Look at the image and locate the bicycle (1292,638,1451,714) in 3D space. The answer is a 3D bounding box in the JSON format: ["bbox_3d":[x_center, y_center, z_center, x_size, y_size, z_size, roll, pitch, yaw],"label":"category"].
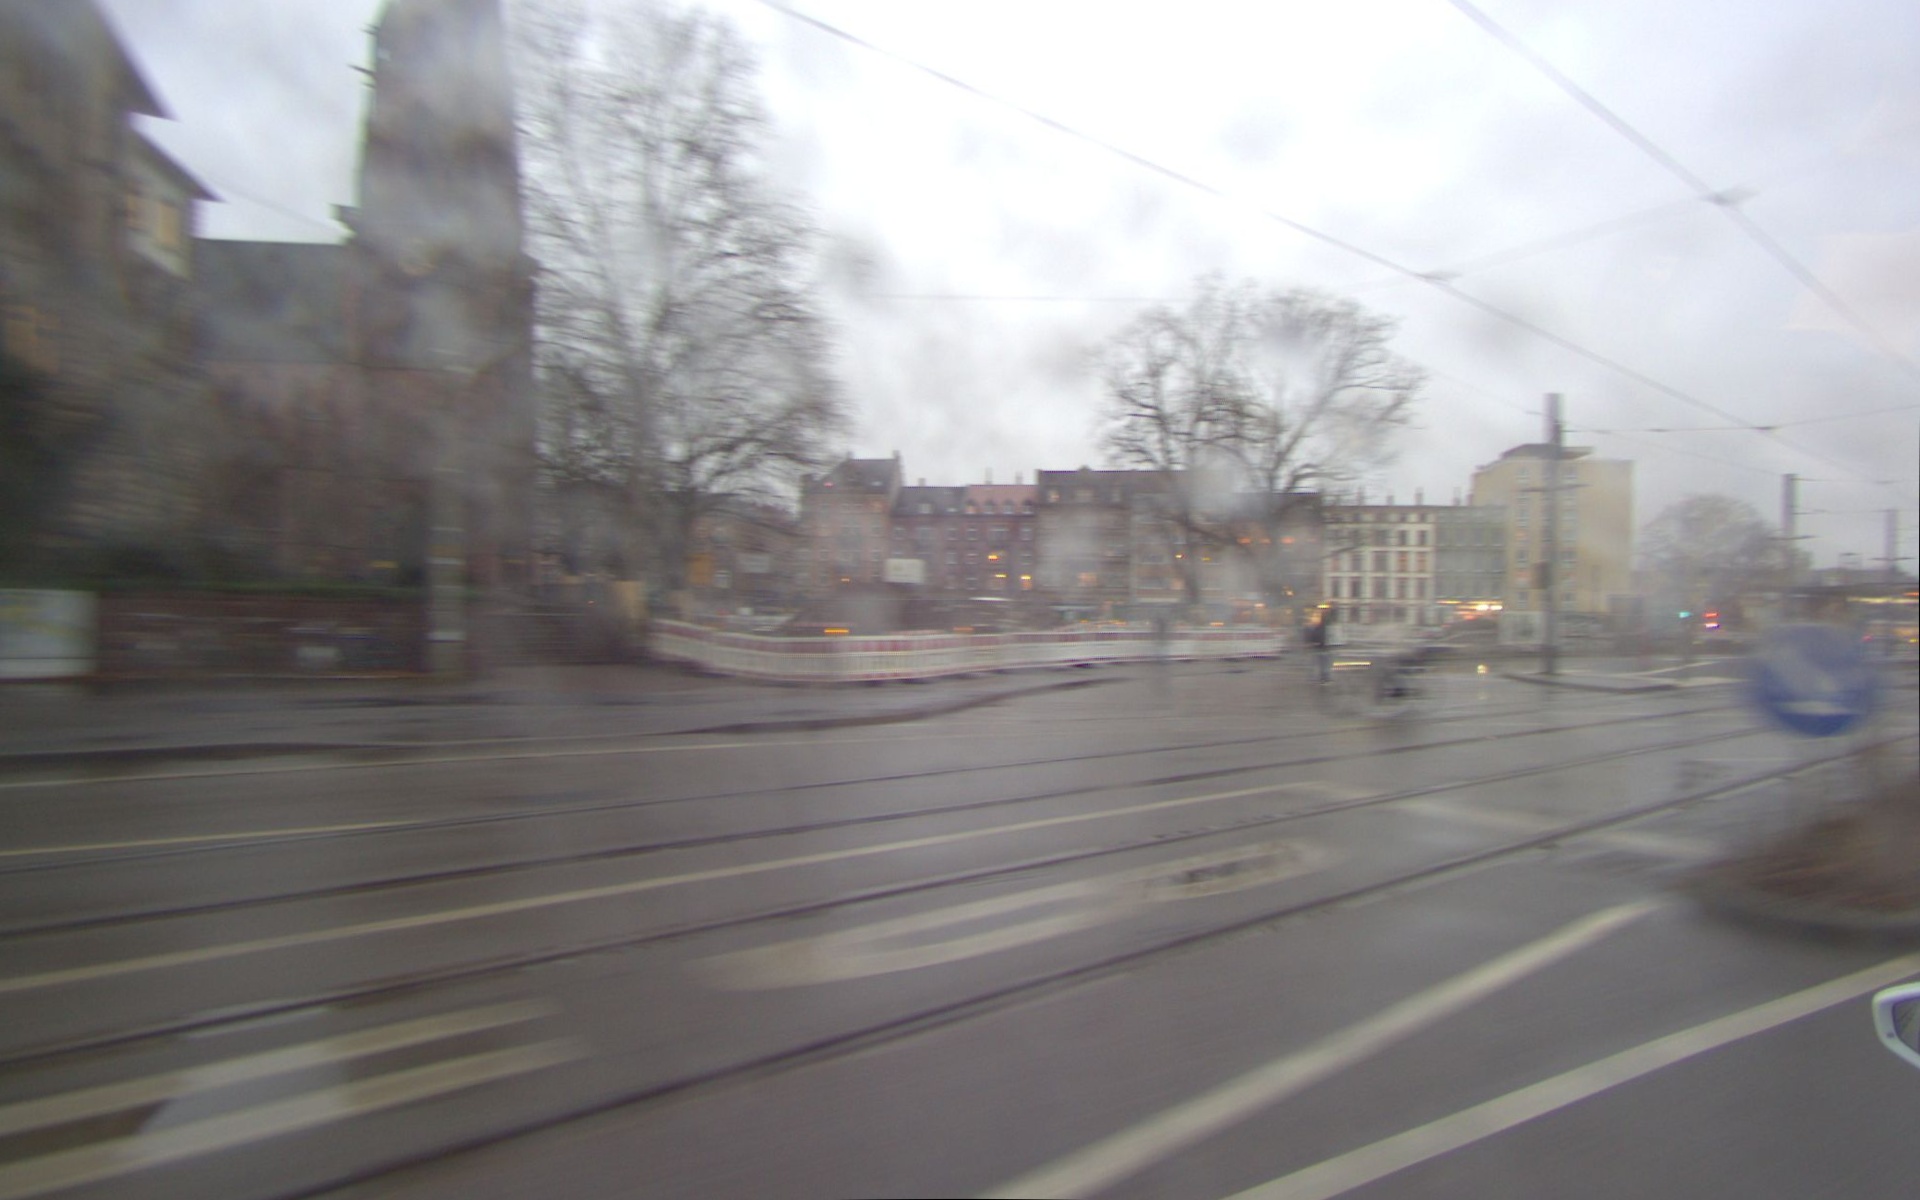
[{"bbox_3d":[6.278,1.143,15.410,2.165,1.089,0.628,0,1,6],"label":"bicycle"}]

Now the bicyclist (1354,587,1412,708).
[{"bbox_3d":[6.463,0.706,15.374,0.577,1.791,0.612,3,1,7],"label":"bicyclist"}]

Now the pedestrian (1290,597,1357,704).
[{"bbox_3d":[8.578,1.173,23.745,1.045,2.402,0.995,3,1,-7],"label":"pedestrian"}]

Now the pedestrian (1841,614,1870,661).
[{"bbox_3d":[35.831,1.491,40.187,0.710,1.830,0.707,2,1,-36],"label":"pedestrian"}]

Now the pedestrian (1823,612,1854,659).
[{"bbox_3d":[33.994,1.381,38.876,0.710,1.780,0.707,2,1,-36],"label":"pedestrian"}]

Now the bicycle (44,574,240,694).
[{"bbox_3d":[-12.810,0.485,15.864,0.699,1.711,2.430,3,1,14],"label":"bicycle"}]

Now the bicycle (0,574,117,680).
[{"bbox_3d":[-15.905,0.436,17.074,0.699,1.711,2.430,3,1,14],"label":"bicycle"}]
